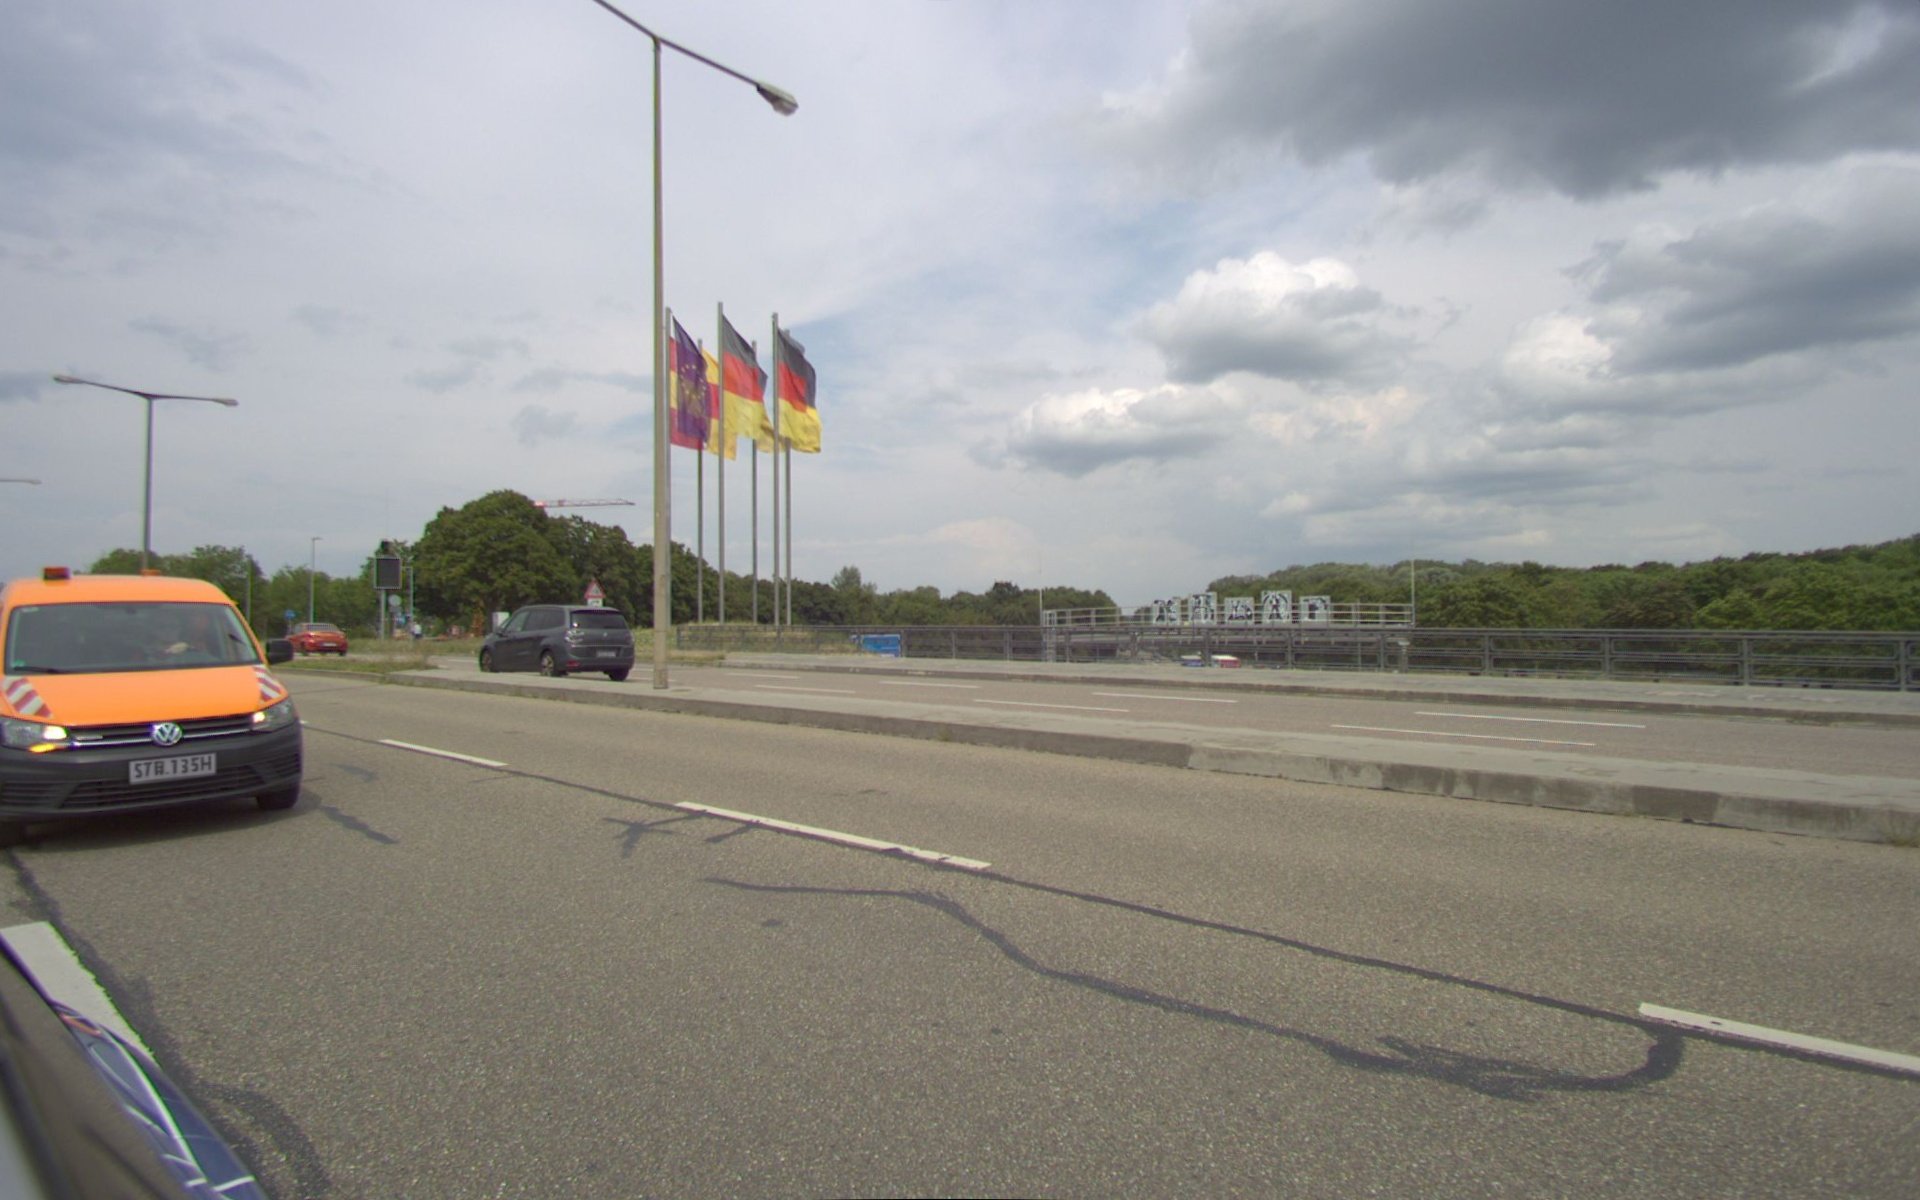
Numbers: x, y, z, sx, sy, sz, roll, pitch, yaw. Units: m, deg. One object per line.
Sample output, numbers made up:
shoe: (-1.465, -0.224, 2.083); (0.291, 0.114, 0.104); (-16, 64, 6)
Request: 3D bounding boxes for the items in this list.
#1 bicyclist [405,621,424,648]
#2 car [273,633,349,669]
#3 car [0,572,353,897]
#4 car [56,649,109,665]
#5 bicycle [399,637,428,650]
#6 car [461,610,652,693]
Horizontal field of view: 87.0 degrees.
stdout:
bicyclist: (-32.844, 2.072, 60.897); (0.736, 1.604, 0.810); (-2, -2, 40)
car: (-28.870, 2.260, 44.990); (3.995, 1.505, 1.674); (-2, -3, 39)
car: (-6.618, 0.819, 7.875); (4.426, 1.849, 1.869); (-2, -1, 39)
car: (-87.575, 5.683, 101.035); (3.582, 1.476, 1.700); (-2, -1, -10)
bicycle: (-32.876, 2.597, 60.853); (2.220, 0.739, 0.810); (-2, -2, 41)
car: (-9.065, 1.142, 22.563); (4.658, 1.652, 1.973); (-2, -4, 40)
